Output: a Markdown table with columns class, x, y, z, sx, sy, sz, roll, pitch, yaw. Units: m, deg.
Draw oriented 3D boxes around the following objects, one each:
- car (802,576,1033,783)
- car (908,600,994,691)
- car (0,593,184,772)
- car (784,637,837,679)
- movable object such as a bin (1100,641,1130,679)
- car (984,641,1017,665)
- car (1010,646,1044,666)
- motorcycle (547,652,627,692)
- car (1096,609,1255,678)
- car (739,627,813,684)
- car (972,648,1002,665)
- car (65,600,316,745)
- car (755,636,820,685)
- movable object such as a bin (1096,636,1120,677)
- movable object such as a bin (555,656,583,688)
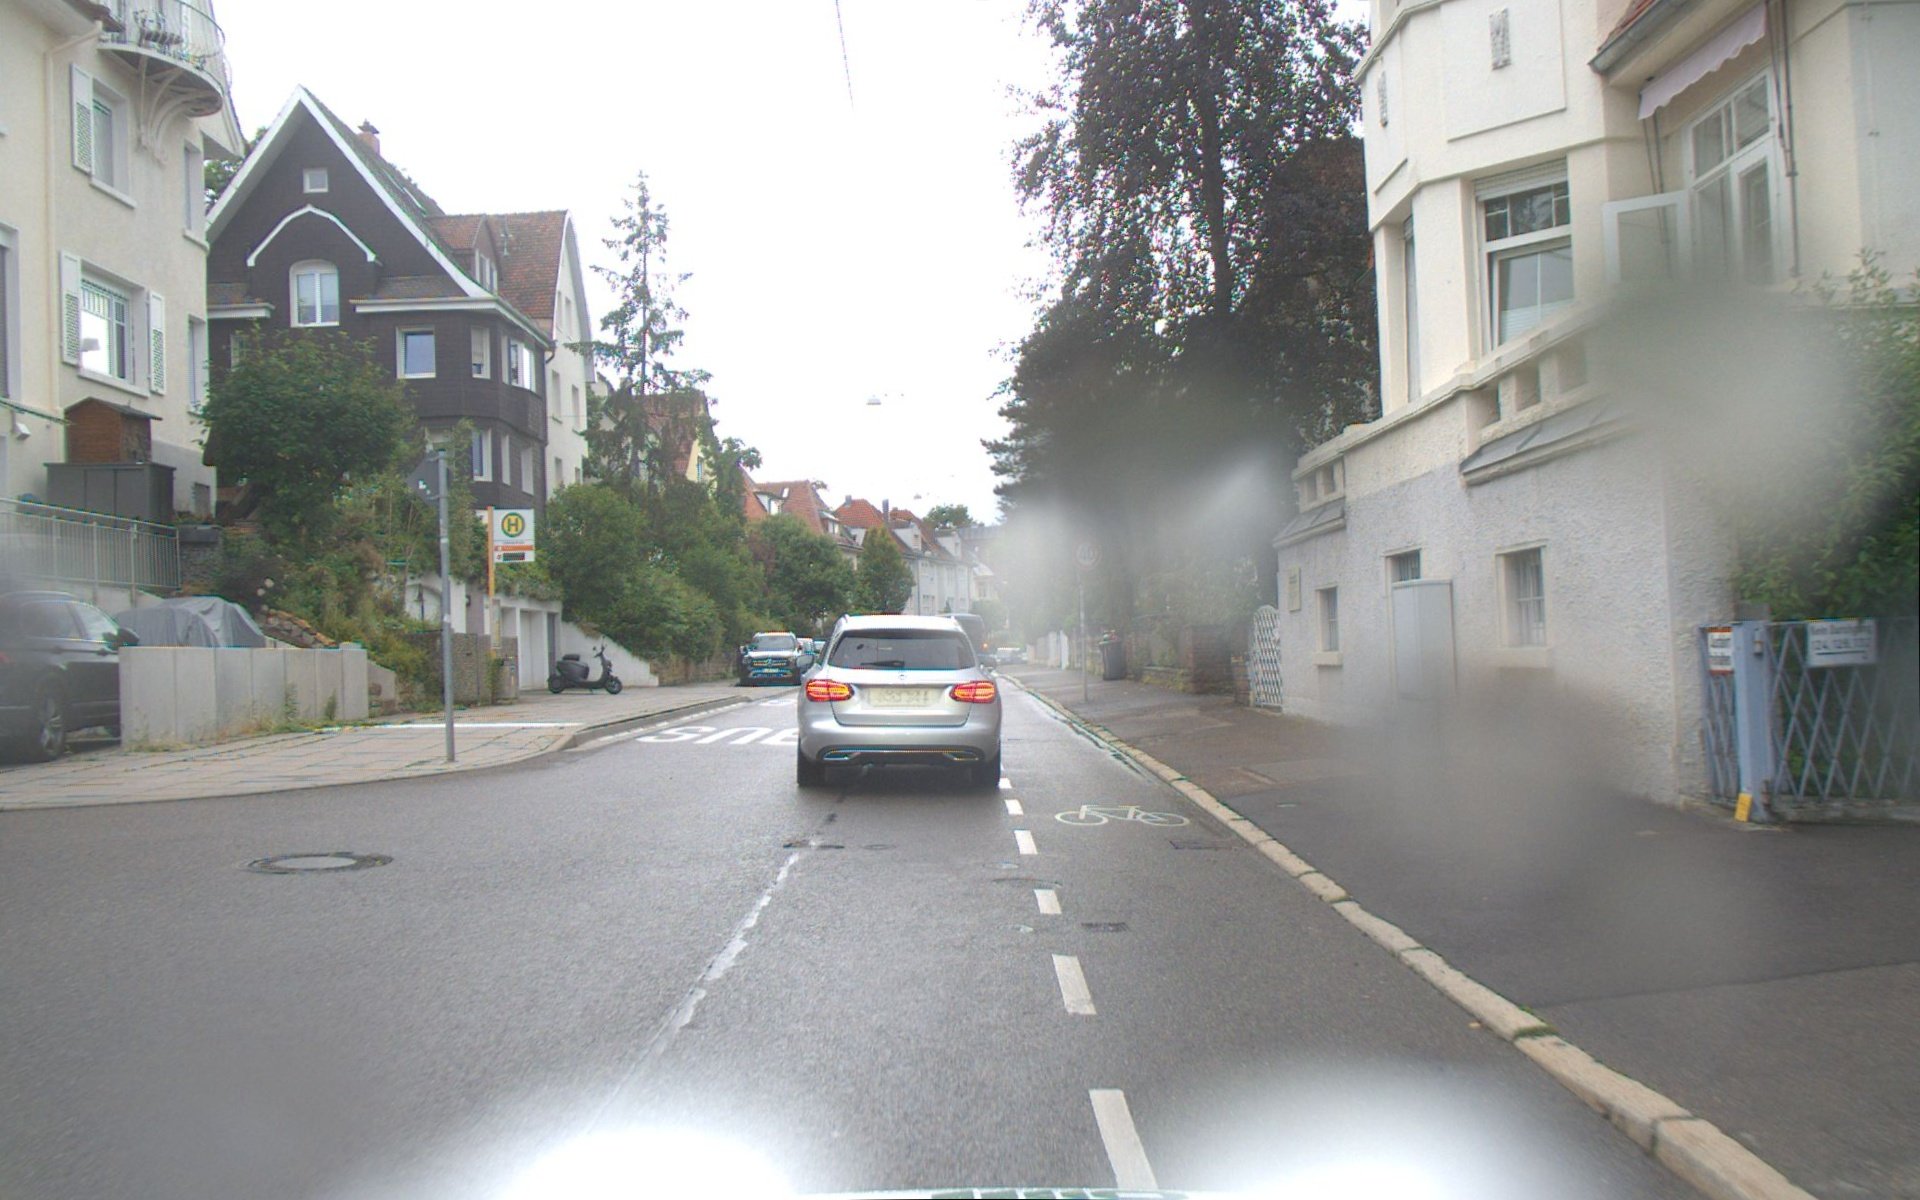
| class | x | y | z | sx | sy | sz | roll | pitch | yaw |
| --- | --- | --- | --- | --- | --- | --- | --- | --- | --- |
| car | -0.428 | 0.672 | 14.878 | 1.780 | 1.584 | 3.997 | -1 | -2 | -3 |
| car | -0.154 | 1.060 | 37.410 | 1.805 | 1.937 | 4.000 | -1 | -3 | 1 |
| car | -9.734 | 0.780 | 17.144 | 1.731 | 1.646 | 3.996 | -1 | 0 | -5 |
| car | -5.895 | 2.255 | 65.610 | 1.720 | 1.472 | 4.415 | -1 | 0 | -1 |
| movable object such as a bin | 3.708 | 1.436 | 39.707 | 0.638 | 0.870 | 0.503 | -1 | 0 | -3 |
| car | 3.776 | 4.896 | 152.729 | 1.790 | 2.092 | 5.012 | -1 | -2 | 17 |
| car | 6.473 | 5.365 | 159.601 | 1.952 | 1.718 | 4.677 | -1 | 0 | 20 |
| motorcycle | -8.860 | 1.704 | 39.314 | 1.757 | 0.919 | 0.603 | 1 | -2 | -1 |
| car | 5.637 | 1.133 | 43.639 | 3.906 | 1.668 | 1.918 | -1 | 0 | -1 |
| car | -5.636 | 1.710 | 51.105 | 1.855 | 1.651 | 4.377 | -1 | -2 | -1 |
| car | 2.422 | 4.959 | 146.329 | 1.608 | 1.442 | 4.615 | -1 | -2 | 14 |
| car | -10.182 | 0.880 | 22.214 | 1.731 | 1.726 | 3.996 | -1 | 0 | -5 |
| car | -5.817 | 2.038 | 56.193 | 1.855 | 1.472 | 3.813 | -1 | 0 | -1 |
| movable object such as a bin | 3.613 | 1.388 | 40.372 | 0.484 | 0.972 | 0.503 | -1 | 0 | -3 |
| movable object such as a bin | -11.327 | 2.087 | 47.872 | 0.480 | 0.904 | 0.617 | -1 | 0 | 45 |
